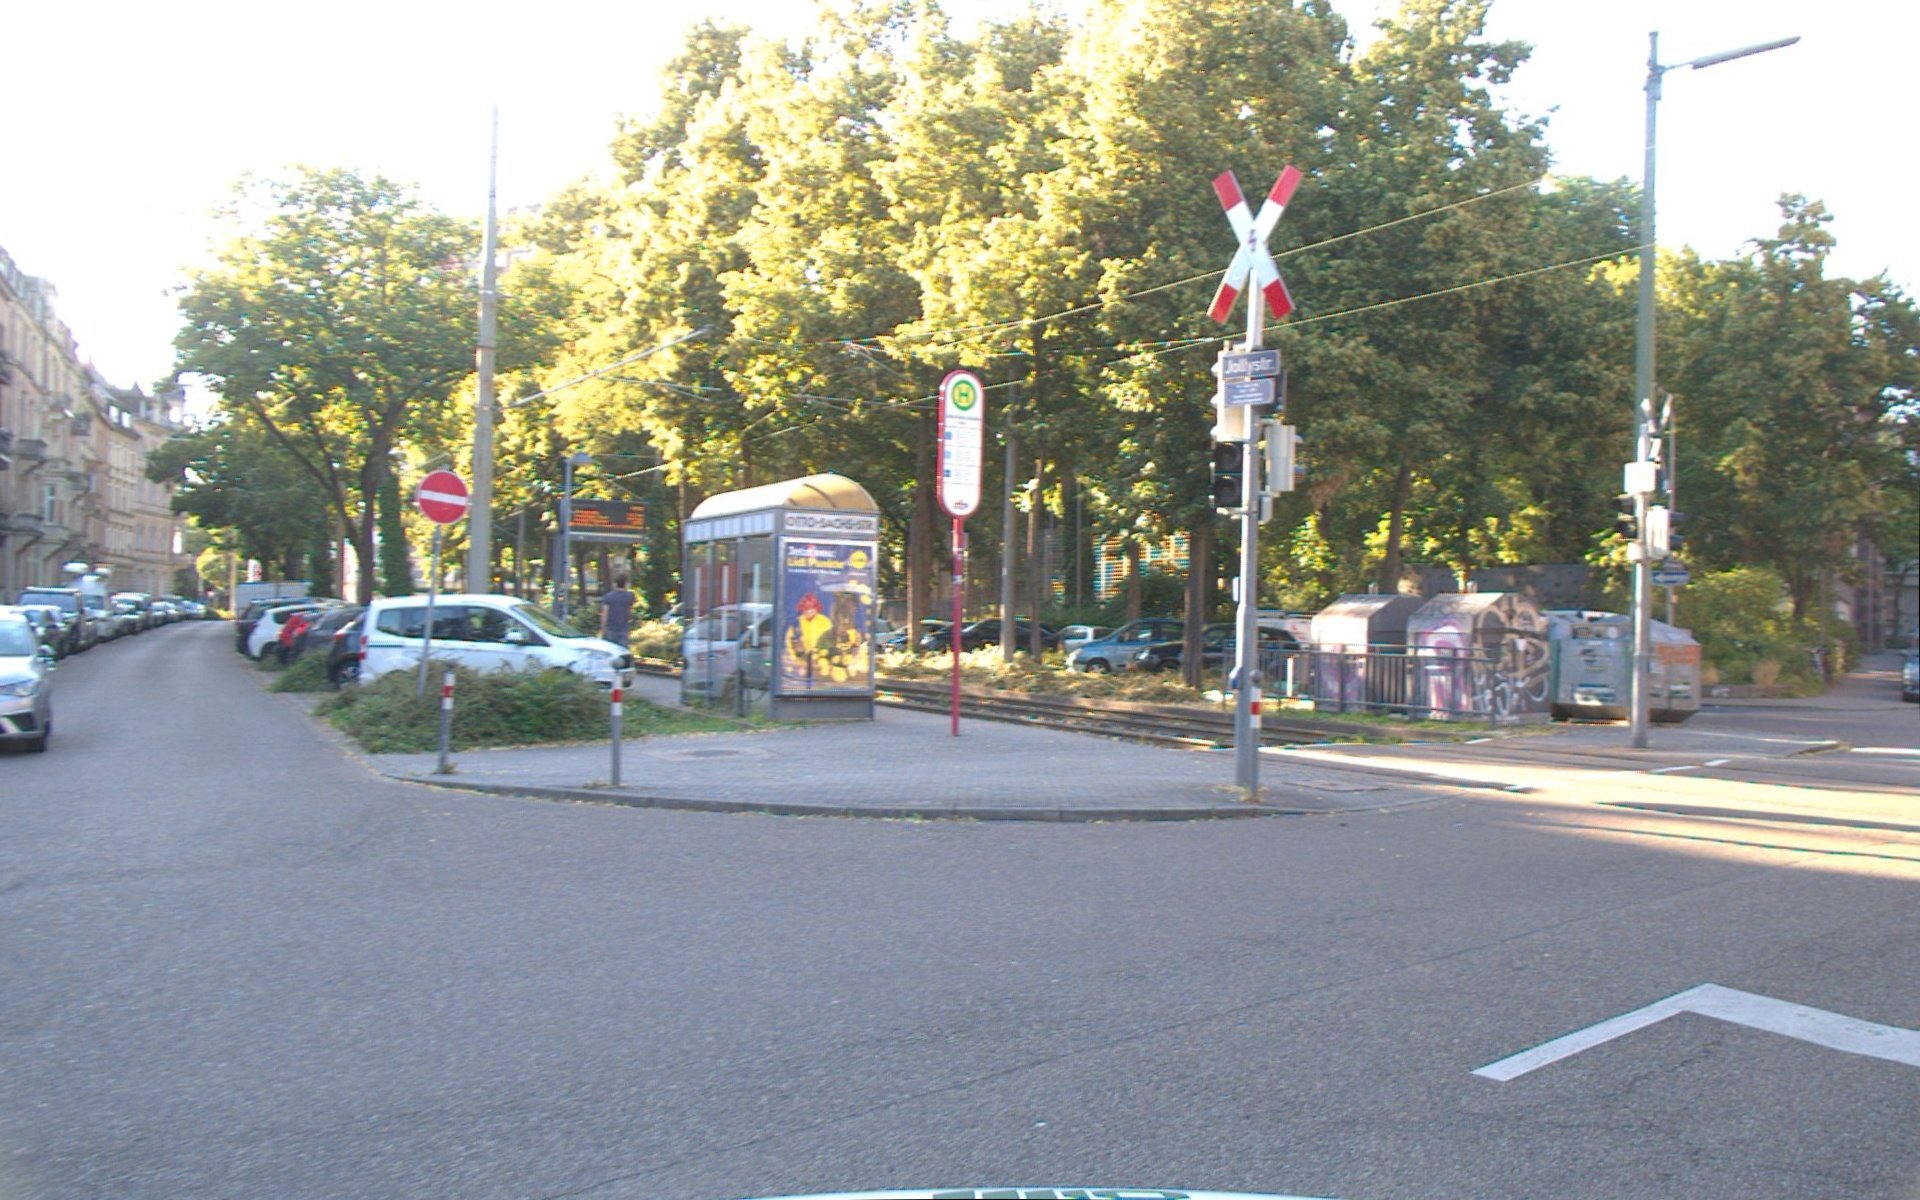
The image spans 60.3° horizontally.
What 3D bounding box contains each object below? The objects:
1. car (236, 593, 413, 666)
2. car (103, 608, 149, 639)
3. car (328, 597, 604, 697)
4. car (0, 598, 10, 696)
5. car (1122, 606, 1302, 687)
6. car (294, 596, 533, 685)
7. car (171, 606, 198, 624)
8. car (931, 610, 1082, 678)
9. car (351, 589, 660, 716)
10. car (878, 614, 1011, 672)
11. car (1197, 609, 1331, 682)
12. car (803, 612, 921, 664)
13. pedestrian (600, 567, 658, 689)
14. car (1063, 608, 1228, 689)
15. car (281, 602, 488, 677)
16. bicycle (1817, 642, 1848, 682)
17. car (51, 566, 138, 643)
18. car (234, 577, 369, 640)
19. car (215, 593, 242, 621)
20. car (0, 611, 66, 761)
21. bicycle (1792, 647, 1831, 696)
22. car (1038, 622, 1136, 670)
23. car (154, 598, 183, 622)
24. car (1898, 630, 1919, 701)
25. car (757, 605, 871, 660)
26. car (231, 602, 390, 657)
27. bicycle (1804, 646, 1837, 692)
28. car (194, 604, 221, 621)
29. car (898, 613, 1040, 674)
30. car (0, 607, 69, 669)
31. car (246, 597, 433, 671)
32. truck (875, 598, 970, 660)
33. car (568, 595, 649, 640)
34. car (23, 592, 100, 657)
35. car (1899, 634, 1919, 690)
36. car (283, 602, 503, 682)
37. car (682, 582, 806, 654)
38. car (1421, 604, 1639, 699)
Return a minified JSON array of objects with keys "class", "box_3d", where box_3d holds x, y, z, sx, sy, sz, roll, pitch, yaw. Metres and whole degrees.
[{"class":"car","box_3d":[-17.464,0.795,45.537,4.137,1.779,1.860,-2,1,11]},{"class":"car","box_3d":[-40.582,1.119,80.502,1.687,1.471,3.972,0,0,-23]},{"class":"car","box_3d":[-8.332,0.773,28.132,4.107,1.461,1.701,-3,1,0]},{"class":"car","box_3d":[-17.735,0.819,28.946,1.690,1.702,3.965,0,0,-27]},{"class":"car","box_3d":[5.378,0.983,35.563,3.535,1.472,1.607,4,-1,-2]},{"class":"car","box_3d":[-10.810,0.785,32.878,4.141,1.534,1.607,-3,1,-1]},{"class":"car","box_3d":[-65.846,1.274,140.457,1.685,1.471,3.976,0,0,-20]},{"class":"car","box_3d":[1.190,1.175,43.762,3.743,1.523,1.735,4,-3,-6]},{"class":"car","box_3d":[-6.817,0.771,25.005,4.138,1.681,1.609,-2,1,6]},{"class":"car","box_3d":[-0.482,1.281,48.835,3.743,1.415,1.735,4,-3,-6]},{"class":"car","box_3d":[8.446,1.242,46.228,1.555,1.937,3.862,2,-1,-30]},{"class":"car","box_3d":[-3.252,1.269,54.434,3.743,1.446,1.735,4,-3,-6]},{"class":"pedestrian","box_3d":[-5.421,0.456,27.144,0.832,1.944,0.836,1,-1,-6]},{"class":"car","box_3d":[4.250,1.113,38.211,3.534,1.589,1.607,4,-1,-1]},{"class":"car","box_3d":[-13.235,0.894,38.185,4.141,1.484,1.607,-3,1,-1]},{"class":"bicycle","box_3d":[25.192,1.781,47.718,0.586,1.121,2.620,1,-1,32]},{"class":"car","box_3d":[-34.630,0.174,66.361,2.517,2.938,5.445,0,0,-22]},{"class":"car","box_3d":[-30.141,0.366,75.775,5.142,2.616,2.274,-2,1,3]},{"class":"car","box_3d":[-70.972,0.657,160.500,1.683,2.607,5.542,0,0,-16]},{"class":"car","box_3d":[-10.817,0.876,18.194,1.692,1.471,3.961,0,0,-29]},{"class":"bicycle","box_3d":[20.584,1.705,39.971,0.586,1.121,2.620,1,-1,33]},{"class":"car","box_3d":[4.189,1.515,54.994,1.553,1.493,3.567,2,-1,-28]},{"class":"car","box_3d":[-62.657,0.776,131.015,1.685,1.852,3.976,0,0,-20]},{"class":"car","box_3d":[24.008,1.624,40.305,1.793,1.642,4.281,4,1,31]},{"class":"car","box_3d":[-5.021,1.150,56.960,3.743,1.615,1.735,4,-3,-6]},{"class":"car","box_3d":[-20.110,0.901,51.332,4.139,1.498,1.859,-2,1,3]},{"class":"bicycle","box_3d":[22.008,1.744,42.280,0.586,1.121,2.621,1,-1,31]},{"class":"car","box_3d":[-68.469,1.102,150.510,1.683,1.471,3.982,0,0,-16]},{"class":"car","box_3d":[0.227,1.232,46.052,3.743,1.415,1.735,4,-3,-6]},{"class":"car","box_3d":[-24.083,0.941,42.424,1.687,1.471,3.973,0,0,-22]},{"class":"car","box_3d":[-16.102,0.874,43.002,4.137,1.680,1.860,-2,1,11]},{"class":"truck","box_3d":[-1.557,1.157,67.033,2.335,2.394,4.350,1,-1,-24]},{"class":"car","box_3d":[-19.784,0.997,93.196,3.993,2.249,1.820,3,-3,6]},{"class":"car","box_3d":[-28.426,0.746,52.426,1.687,1.966,3.973,0,0,-22]},{"class":"car","box_3d":[27.274,1.770,46.060,1.793,1.472,3.922,4,1,31]},{"class":"car","box_3d":[-12.171,0.885,35.668,4.141,1.484,1.607,-3,1,-1]},{"class":"car","box_3d":[-8.512,0.732,65.411,4.391,2.520,1.820,3,-3,6]},{"class":"car","box_3d":[13.149,1.142,38.415,1.926,2.038,4.607,2,-1,-33]}]
